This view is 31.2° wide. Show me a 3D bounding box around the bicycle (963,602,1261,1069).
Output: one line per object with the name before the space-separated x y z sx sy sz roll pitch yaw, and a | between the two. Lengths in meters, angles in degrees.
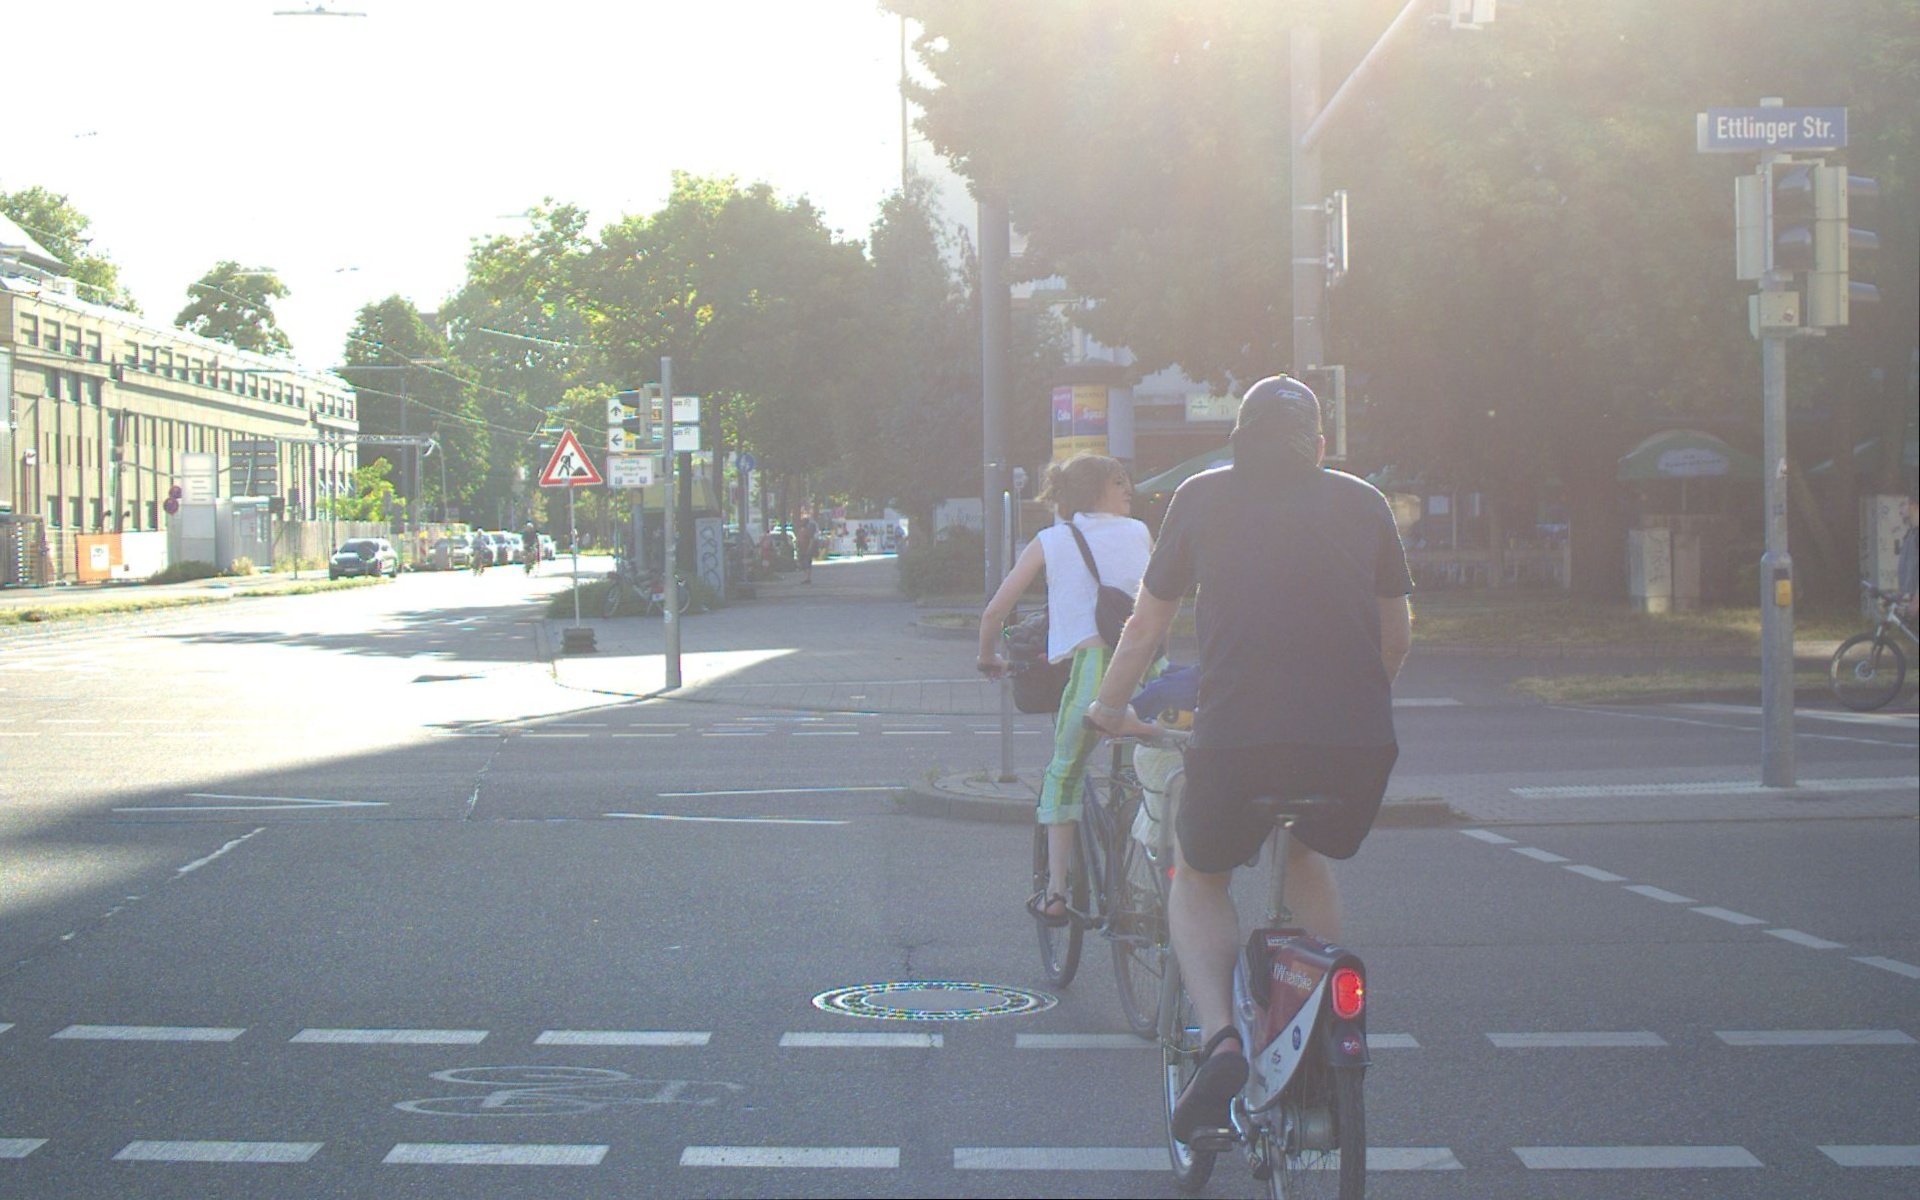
bicycle | 0.420 0.652 10.647 0.775 1.235 2.312 1 1 -1

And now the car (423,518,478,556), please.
car | -22.428 -2.764 151.491 1.993 1.634 4.001 -1 1 -3

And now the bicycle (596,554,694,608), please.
bicycle | -5.407 -0.333 58.979 1.600 0.886 0.770 -1 1 -9

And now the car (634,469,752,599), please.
car | -6.260 -1.555 81.169 2.591 2.942 5.090 -1 1 -3

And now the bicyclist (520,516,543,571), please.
bicyclist | -14.587 -1.929 117.030 0.664 1.846 0.783 -1 1 -1

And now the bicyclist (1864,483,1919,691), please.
bicyclist | 7.841 -0.111 28.103 0.836 1.673 0.783 -1 0 14

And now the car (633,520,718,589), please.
car | -6.165 -1.000 74.839 1.697 1.423 4.001 -1 1 -3

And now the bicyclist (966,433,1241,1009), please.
bicyclist | 0.423 0.353 10.581 0.773 1.685 0.925 1 0 -1

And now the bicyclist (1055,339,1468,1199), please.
bicyclist | 0.603 0.357 7.167 0.752 1.737 0.839 1 0 -1

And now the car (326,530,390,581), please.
car | -23.835 -1.793 136.169 1.993 1.963 4.001 -1 1 -3

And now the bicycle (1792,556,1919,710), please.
bicycle | 7.964 0.256 28.076 2.243 1.235 0.778 -1 0 14

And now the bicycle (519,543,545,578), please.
bicycle | -14.566 -1.343 116.959 0.661 1.152 1.809 -1 1 -1

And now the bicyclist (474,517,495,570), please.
bicyclist | -16.888 -2.013 122.102 0.635 1.846 0.783 -1 1 -1

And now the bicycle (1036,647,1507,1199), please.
bicycle | 0.591 0.755 7.290 0.775 1.235 2.021 1 1 -1

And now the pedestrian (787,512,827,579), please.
pedestrian | -3.994 -1.421 89.449 0.781 1.734 0.895 -1 1 -20
